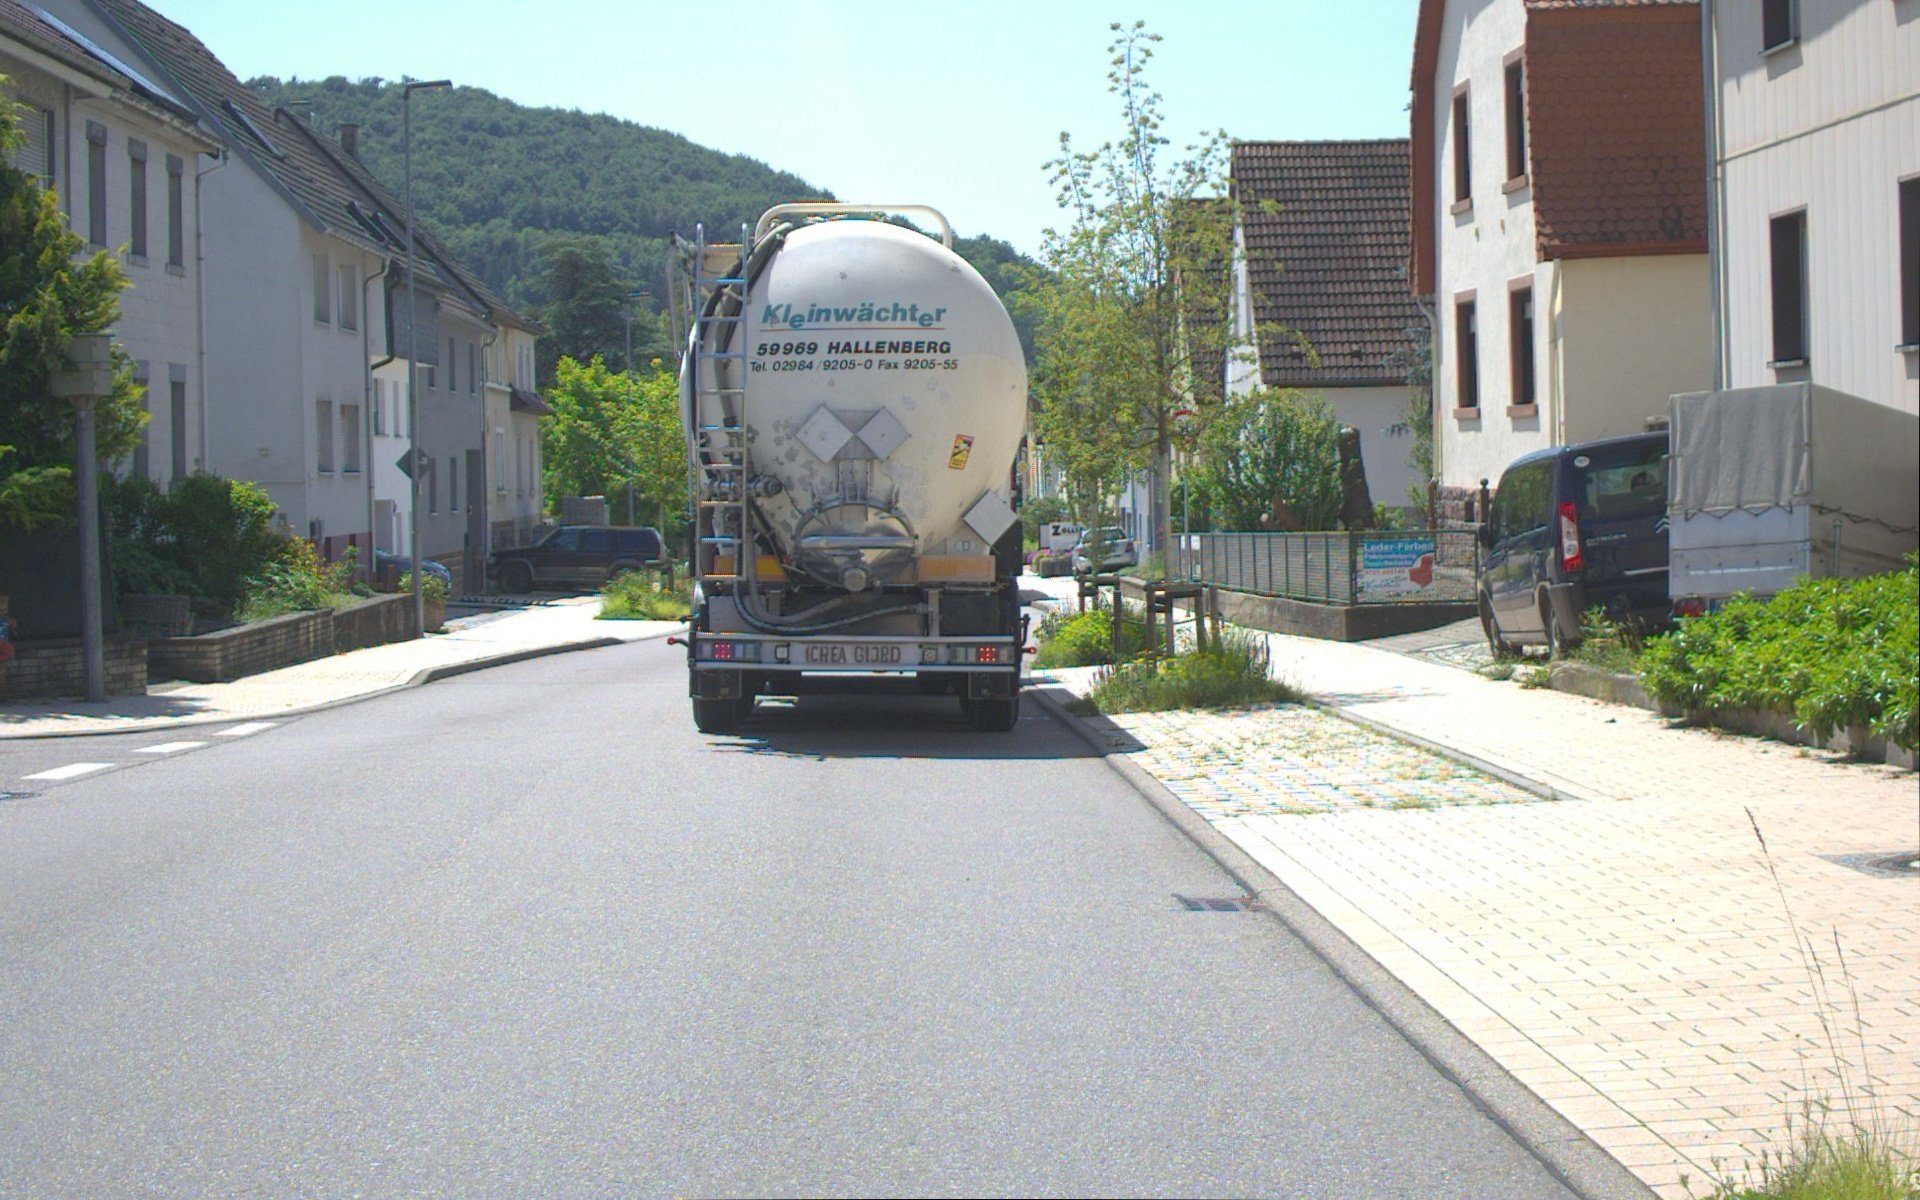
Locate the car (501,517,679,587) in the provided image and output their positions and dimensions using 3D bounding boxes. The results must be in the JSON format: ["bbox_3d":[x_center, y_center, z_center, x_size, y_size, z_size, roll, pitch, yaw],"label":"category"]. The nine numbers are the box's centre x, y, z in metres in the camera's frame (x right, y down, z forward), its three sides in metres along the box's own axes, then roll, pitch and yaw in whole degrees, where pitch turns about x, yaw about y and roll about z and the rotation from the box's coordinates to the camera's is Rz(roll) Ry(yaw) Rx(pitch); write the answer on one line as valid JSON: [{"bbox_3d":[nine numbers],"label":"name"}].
[{"bbox_3d":[-9.484,-1.244,88.407,4.394,1.744,1.878,0,1,-2],"label":"car"}]

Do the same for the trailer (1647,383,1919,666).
[{"bbox_3d":[6.305,-0.561,25.709,1.323,2.007,2.268,1,1,41],"label":"trailer"}]

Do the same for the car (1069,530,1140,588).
[{"bbox_3d":[4.129,-1.188,98.982,1.791,1.536,4.520,-4,1,0],"label":"car"}]

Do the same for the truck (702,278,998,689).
[{"bbox_3d":[-1.049,-1.166,36.026,2.808,3.923,6.099,0,1,0],"label":"truck"}]

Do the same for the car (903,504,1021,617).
[{"bbox_3d":[0.024,-0.705,60.151,1.993,1.897,4.000,0,1,0],"label":"car"}]

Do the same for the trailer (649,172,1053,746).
[{"bbox_3d":[-0.903,-1.076,29.168,2.796,3.987,10.325,0,1,-2],"label":"trailer"}]

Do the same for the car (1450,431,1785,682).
[{"bbox_3d":[5.720,-0.394,30.502,1.852,1.964,4.774,-3,1,-1],"label":"car"}]

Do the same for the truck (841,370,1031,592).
[{"bbox_3d":[-0.706,-2.788,82.611,3.910,4.879,9.798,-2,1,-3],"label":"truck"}]

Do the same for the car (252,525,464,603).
[{"bbox_3d":[-12.165,-0.739,69.631,3.987,1.540,1.832,0,1,-1],"label":"car"}]
